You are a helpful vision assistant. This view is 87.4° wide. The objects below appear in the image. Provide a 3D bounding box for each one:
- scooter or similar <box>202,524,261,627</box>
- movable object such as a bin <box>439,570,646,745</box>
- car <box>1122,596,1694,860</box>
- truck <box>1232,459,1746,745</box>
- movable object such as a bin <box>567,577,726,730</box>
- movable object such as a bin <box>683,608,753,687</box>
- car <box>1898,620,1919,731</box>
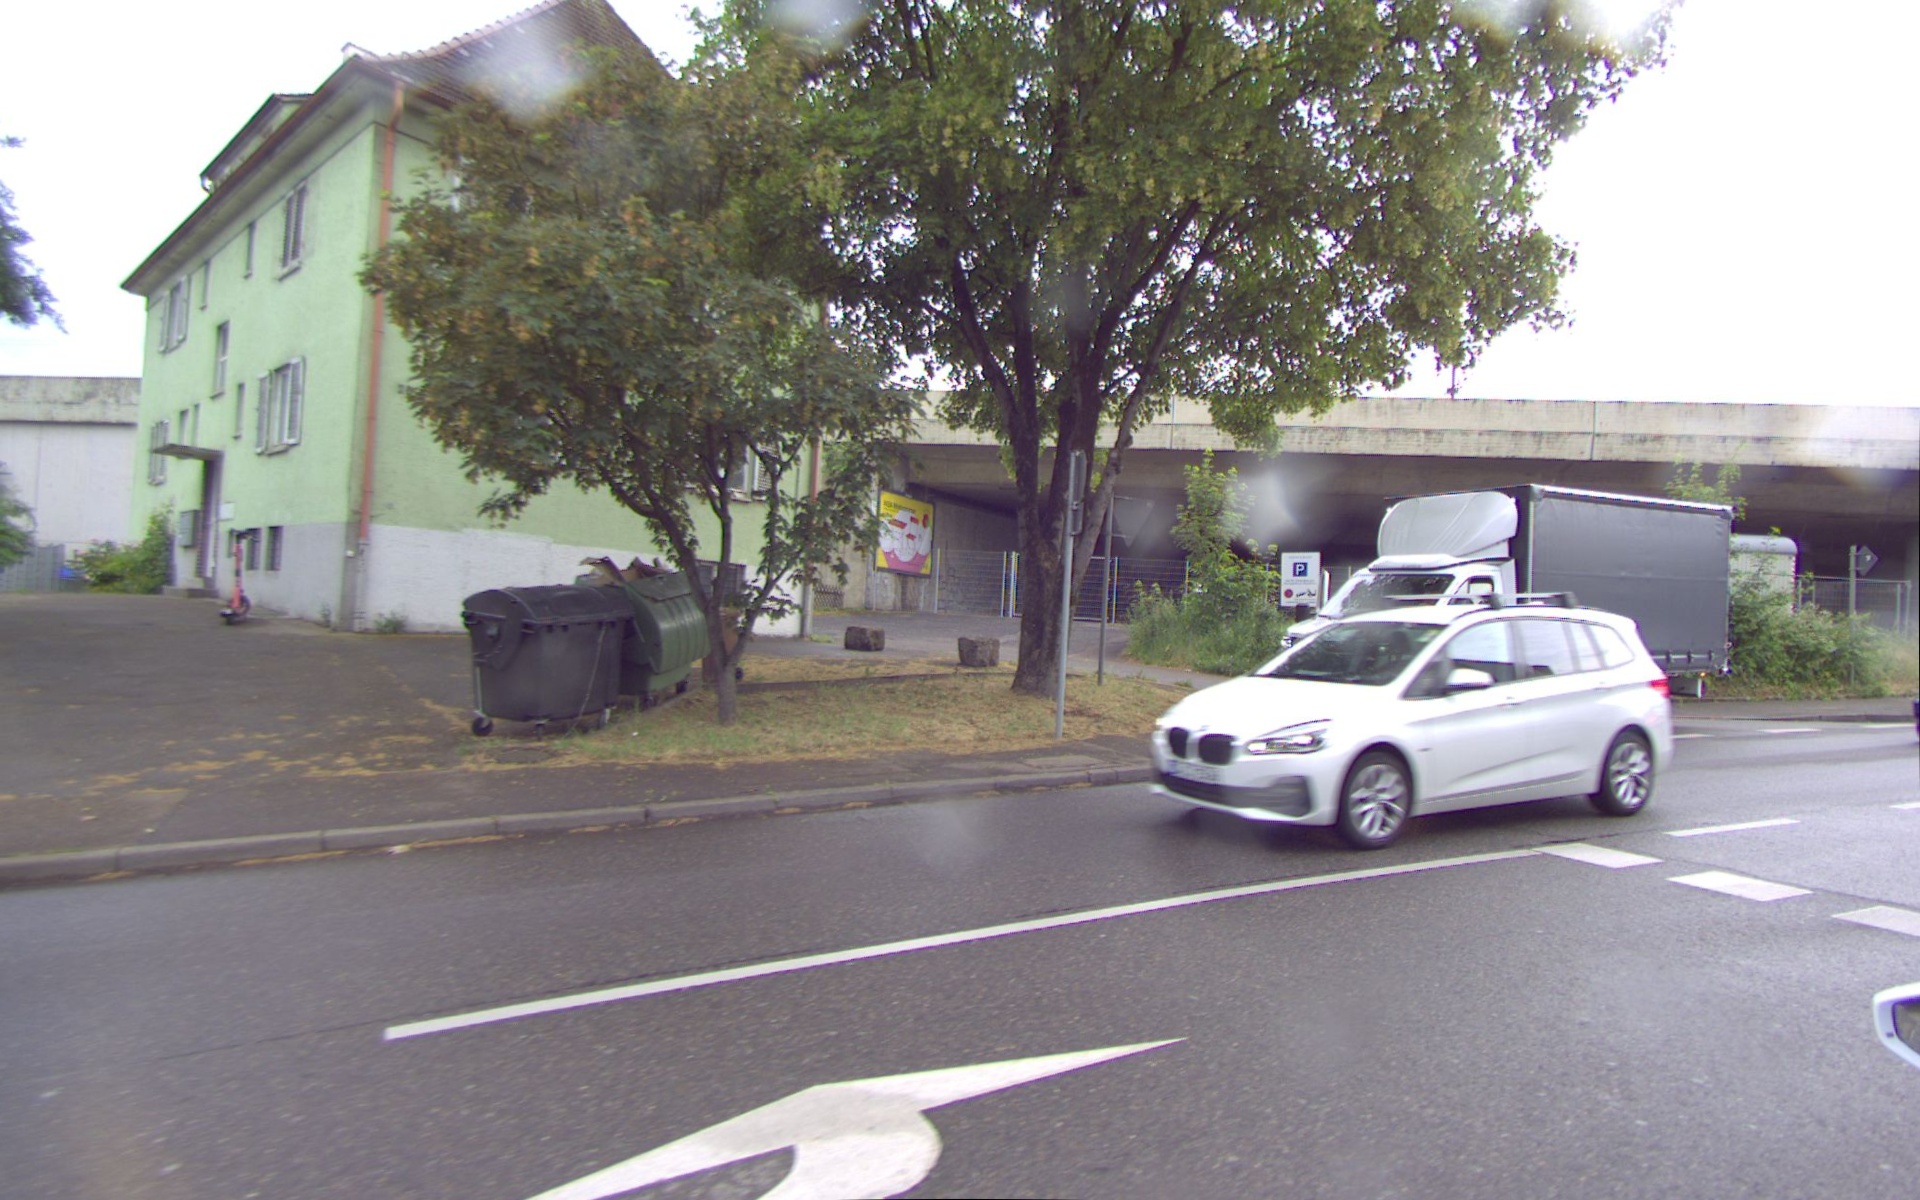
[{"bbox_3d":[-9.856,-0.353,13.620,0.525,1.291,1.511,3,3,-33],"label":"scooter or similar"},{"bbox_3d":[-4.100,0.503,9.980,1.268,1.457,1.462,4,5,14],"label":"movable object such as a bin"},{"bbox_3d":[3.574,0.799,7.929,4.277,1.600,1.825,1,1,-27],"label":"car"},{"bbox_3d":[7.772,0.146,14.466,7.677,3.280,2.600,2,-1,-27],"label":"truck"},{"bbox_3d":[-3.498,0.546,11.329,1.078,1.457,1.462,4,5,14],"label":"movable object such as a bin"},{"bbox_3d":[-3.084,0.597,12.801,0.714,0.970,0.554,3,-1,-29],"label":"movable object such as a bin"},{"bbox_3d":[14.417,1.023,13.436,3.649,1.445,1.592,1,0,-27],"label":"car"}]
